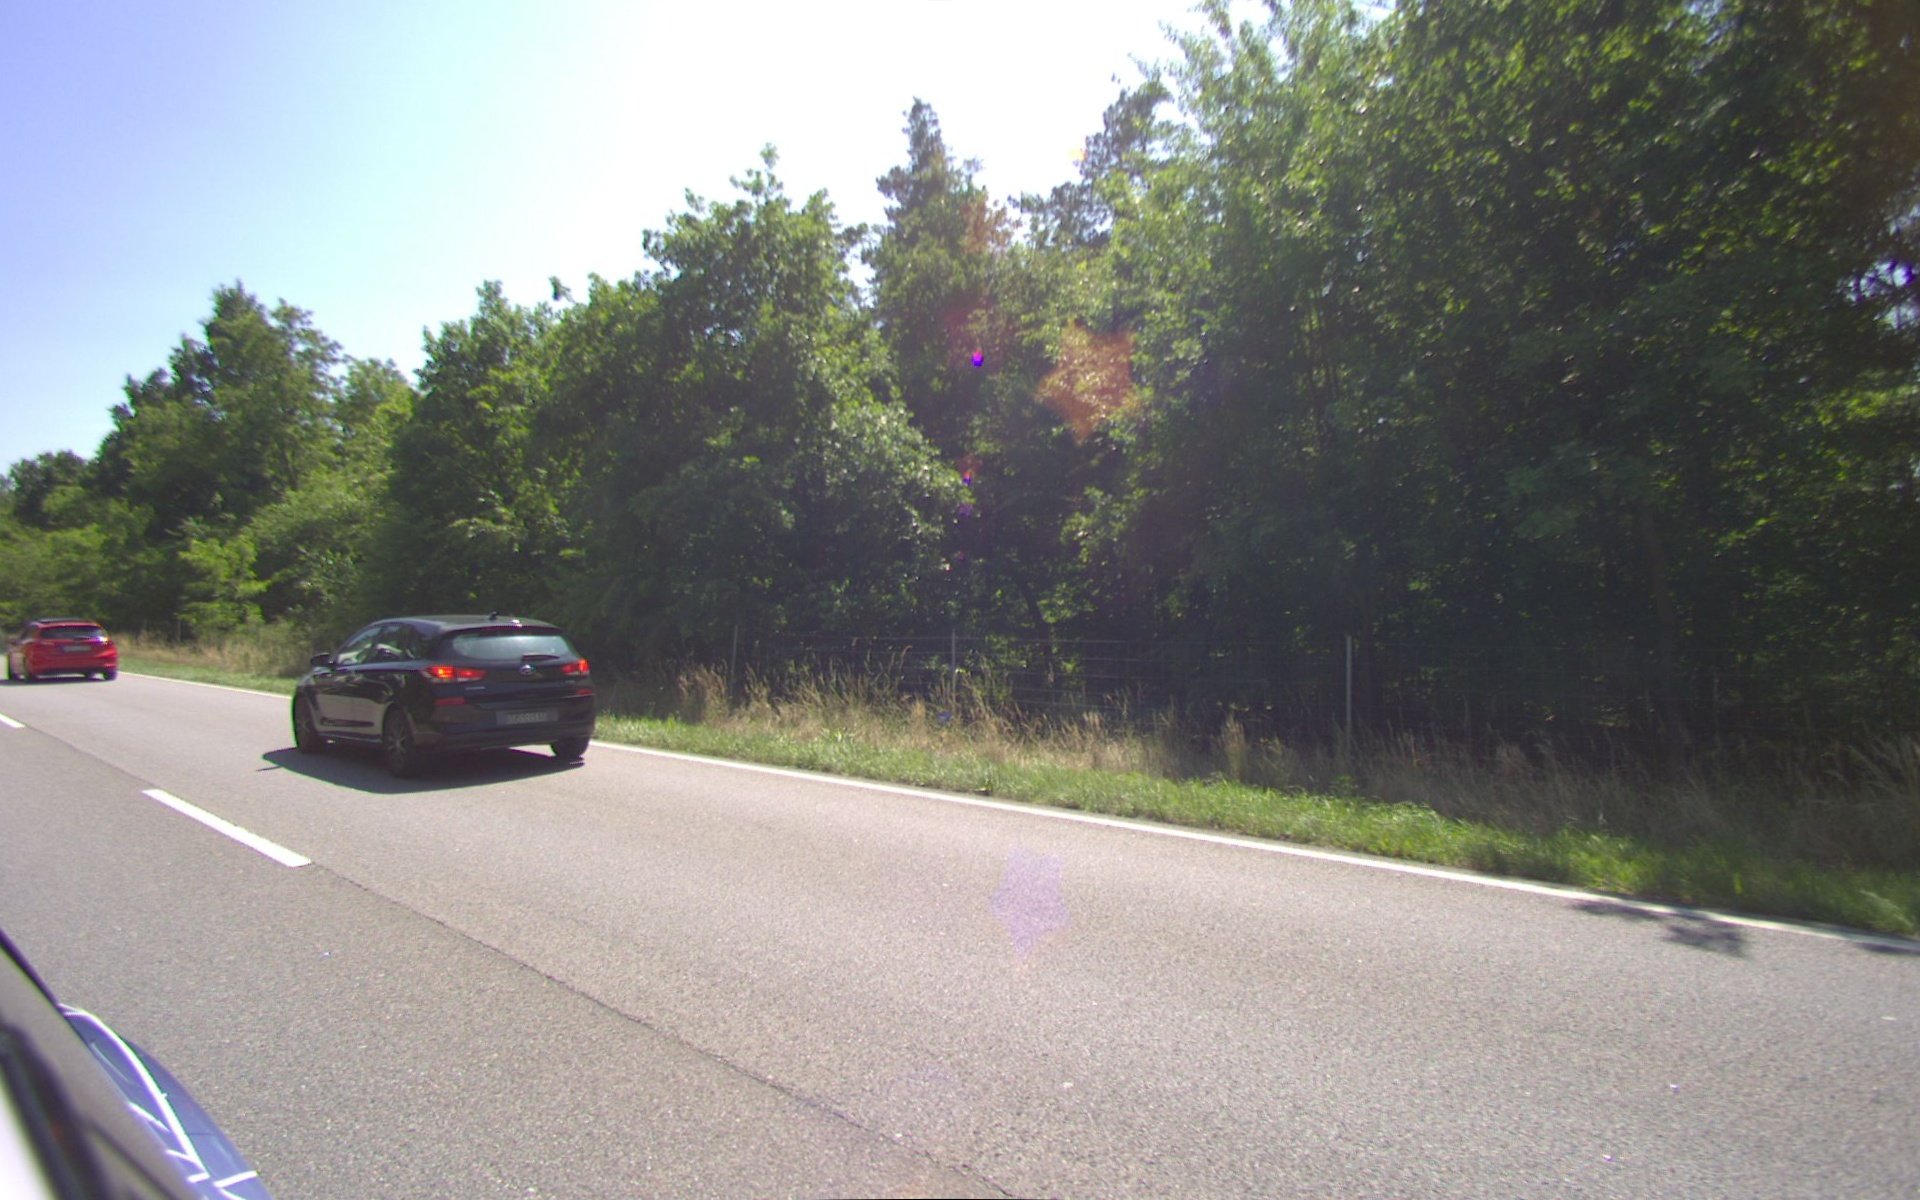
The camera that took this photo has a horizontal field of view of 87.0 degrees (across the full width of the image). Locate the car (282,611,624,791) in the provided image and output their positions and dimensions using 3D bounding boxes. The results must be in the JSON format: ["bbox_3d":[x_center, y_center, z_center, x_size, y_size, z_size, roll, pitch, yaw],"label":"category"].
[{"bbox_3d":[-5.273,0.874,10.296,4.060,1.466,1.710,-1,-1,41],"label":"car"}]

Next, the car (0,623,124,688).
[{"bbox_3d":[-21.980,1.307,24.732,3.791,1.463,1.761,-1,-2,41],"label":"car"}]
